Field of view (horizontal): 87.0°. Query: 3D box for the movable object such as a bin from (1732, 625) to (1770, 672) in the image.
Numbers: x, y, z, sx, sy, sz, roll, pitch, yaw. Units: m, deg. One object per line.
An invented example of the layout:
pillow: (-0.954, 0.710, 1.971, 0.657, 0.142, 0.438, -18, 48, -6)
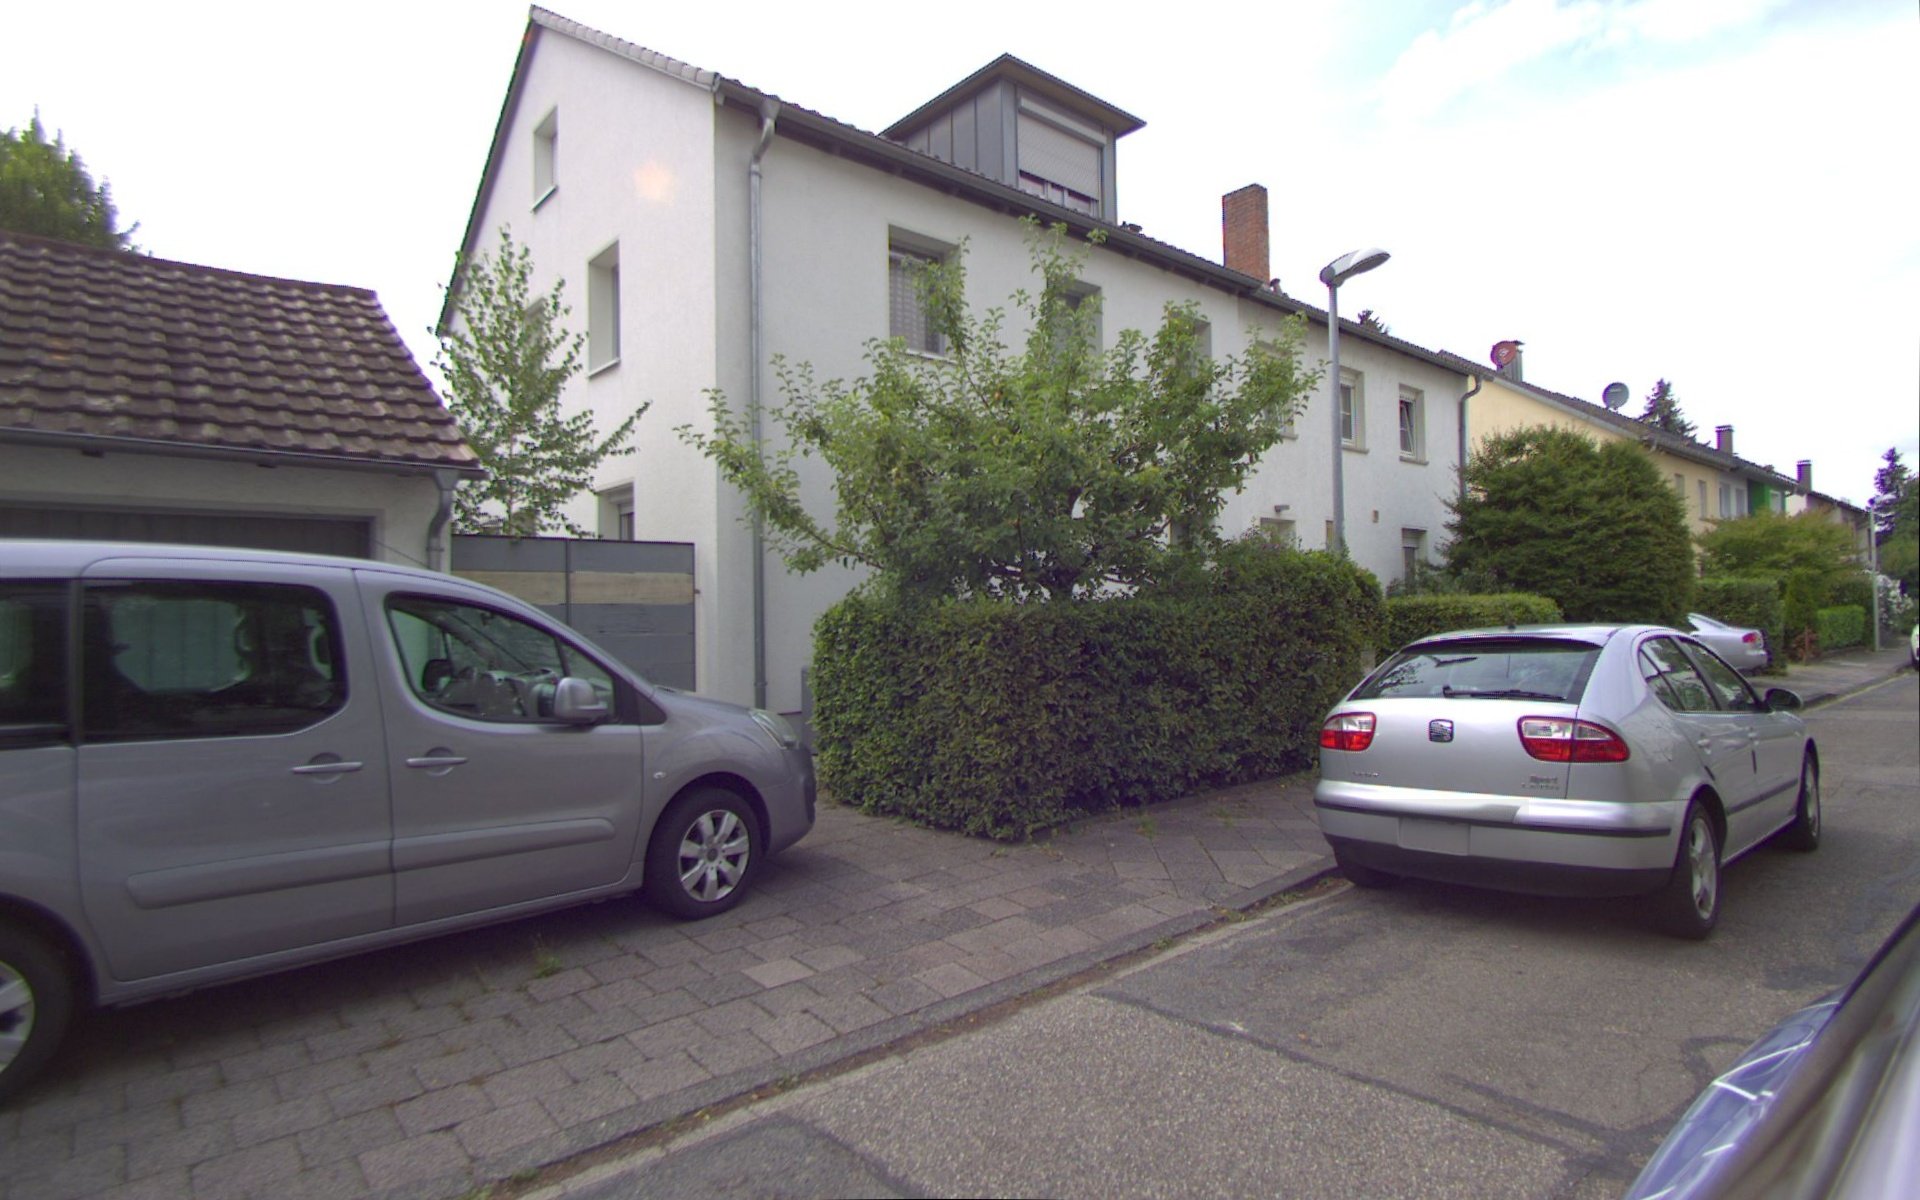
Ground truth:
movable object such as a bin: (16.033, 0.977, 20.515, 0.491, 0.933, 0.510, 0, -2, -41)

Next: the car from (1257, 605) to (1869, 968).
car: (3.818, 0.787, 6.077, 4.254, 1.388, 1.827, 0, -3, -40)

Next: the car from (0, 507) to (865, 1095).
car: (-2.666, 0.576, 4.640, 4.270, 1.799, 1.826, -1, 2, -45)

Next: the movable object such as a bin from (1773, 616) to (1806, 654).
movable object such as a bin: (19.671, 0.835, 24.011, 0.519, 0.879, 0.510, 0, -2, -41)

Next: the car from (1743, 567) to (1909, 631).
car: (36.844, -0.053, 43.176, 2.198, 2.574, 5.098, 0, 0, -40)

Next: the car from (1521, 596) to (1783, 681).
car: (13.483, 0.670, 19.854, 4.020, 1.445, 1.824, 1, 1, 44)
